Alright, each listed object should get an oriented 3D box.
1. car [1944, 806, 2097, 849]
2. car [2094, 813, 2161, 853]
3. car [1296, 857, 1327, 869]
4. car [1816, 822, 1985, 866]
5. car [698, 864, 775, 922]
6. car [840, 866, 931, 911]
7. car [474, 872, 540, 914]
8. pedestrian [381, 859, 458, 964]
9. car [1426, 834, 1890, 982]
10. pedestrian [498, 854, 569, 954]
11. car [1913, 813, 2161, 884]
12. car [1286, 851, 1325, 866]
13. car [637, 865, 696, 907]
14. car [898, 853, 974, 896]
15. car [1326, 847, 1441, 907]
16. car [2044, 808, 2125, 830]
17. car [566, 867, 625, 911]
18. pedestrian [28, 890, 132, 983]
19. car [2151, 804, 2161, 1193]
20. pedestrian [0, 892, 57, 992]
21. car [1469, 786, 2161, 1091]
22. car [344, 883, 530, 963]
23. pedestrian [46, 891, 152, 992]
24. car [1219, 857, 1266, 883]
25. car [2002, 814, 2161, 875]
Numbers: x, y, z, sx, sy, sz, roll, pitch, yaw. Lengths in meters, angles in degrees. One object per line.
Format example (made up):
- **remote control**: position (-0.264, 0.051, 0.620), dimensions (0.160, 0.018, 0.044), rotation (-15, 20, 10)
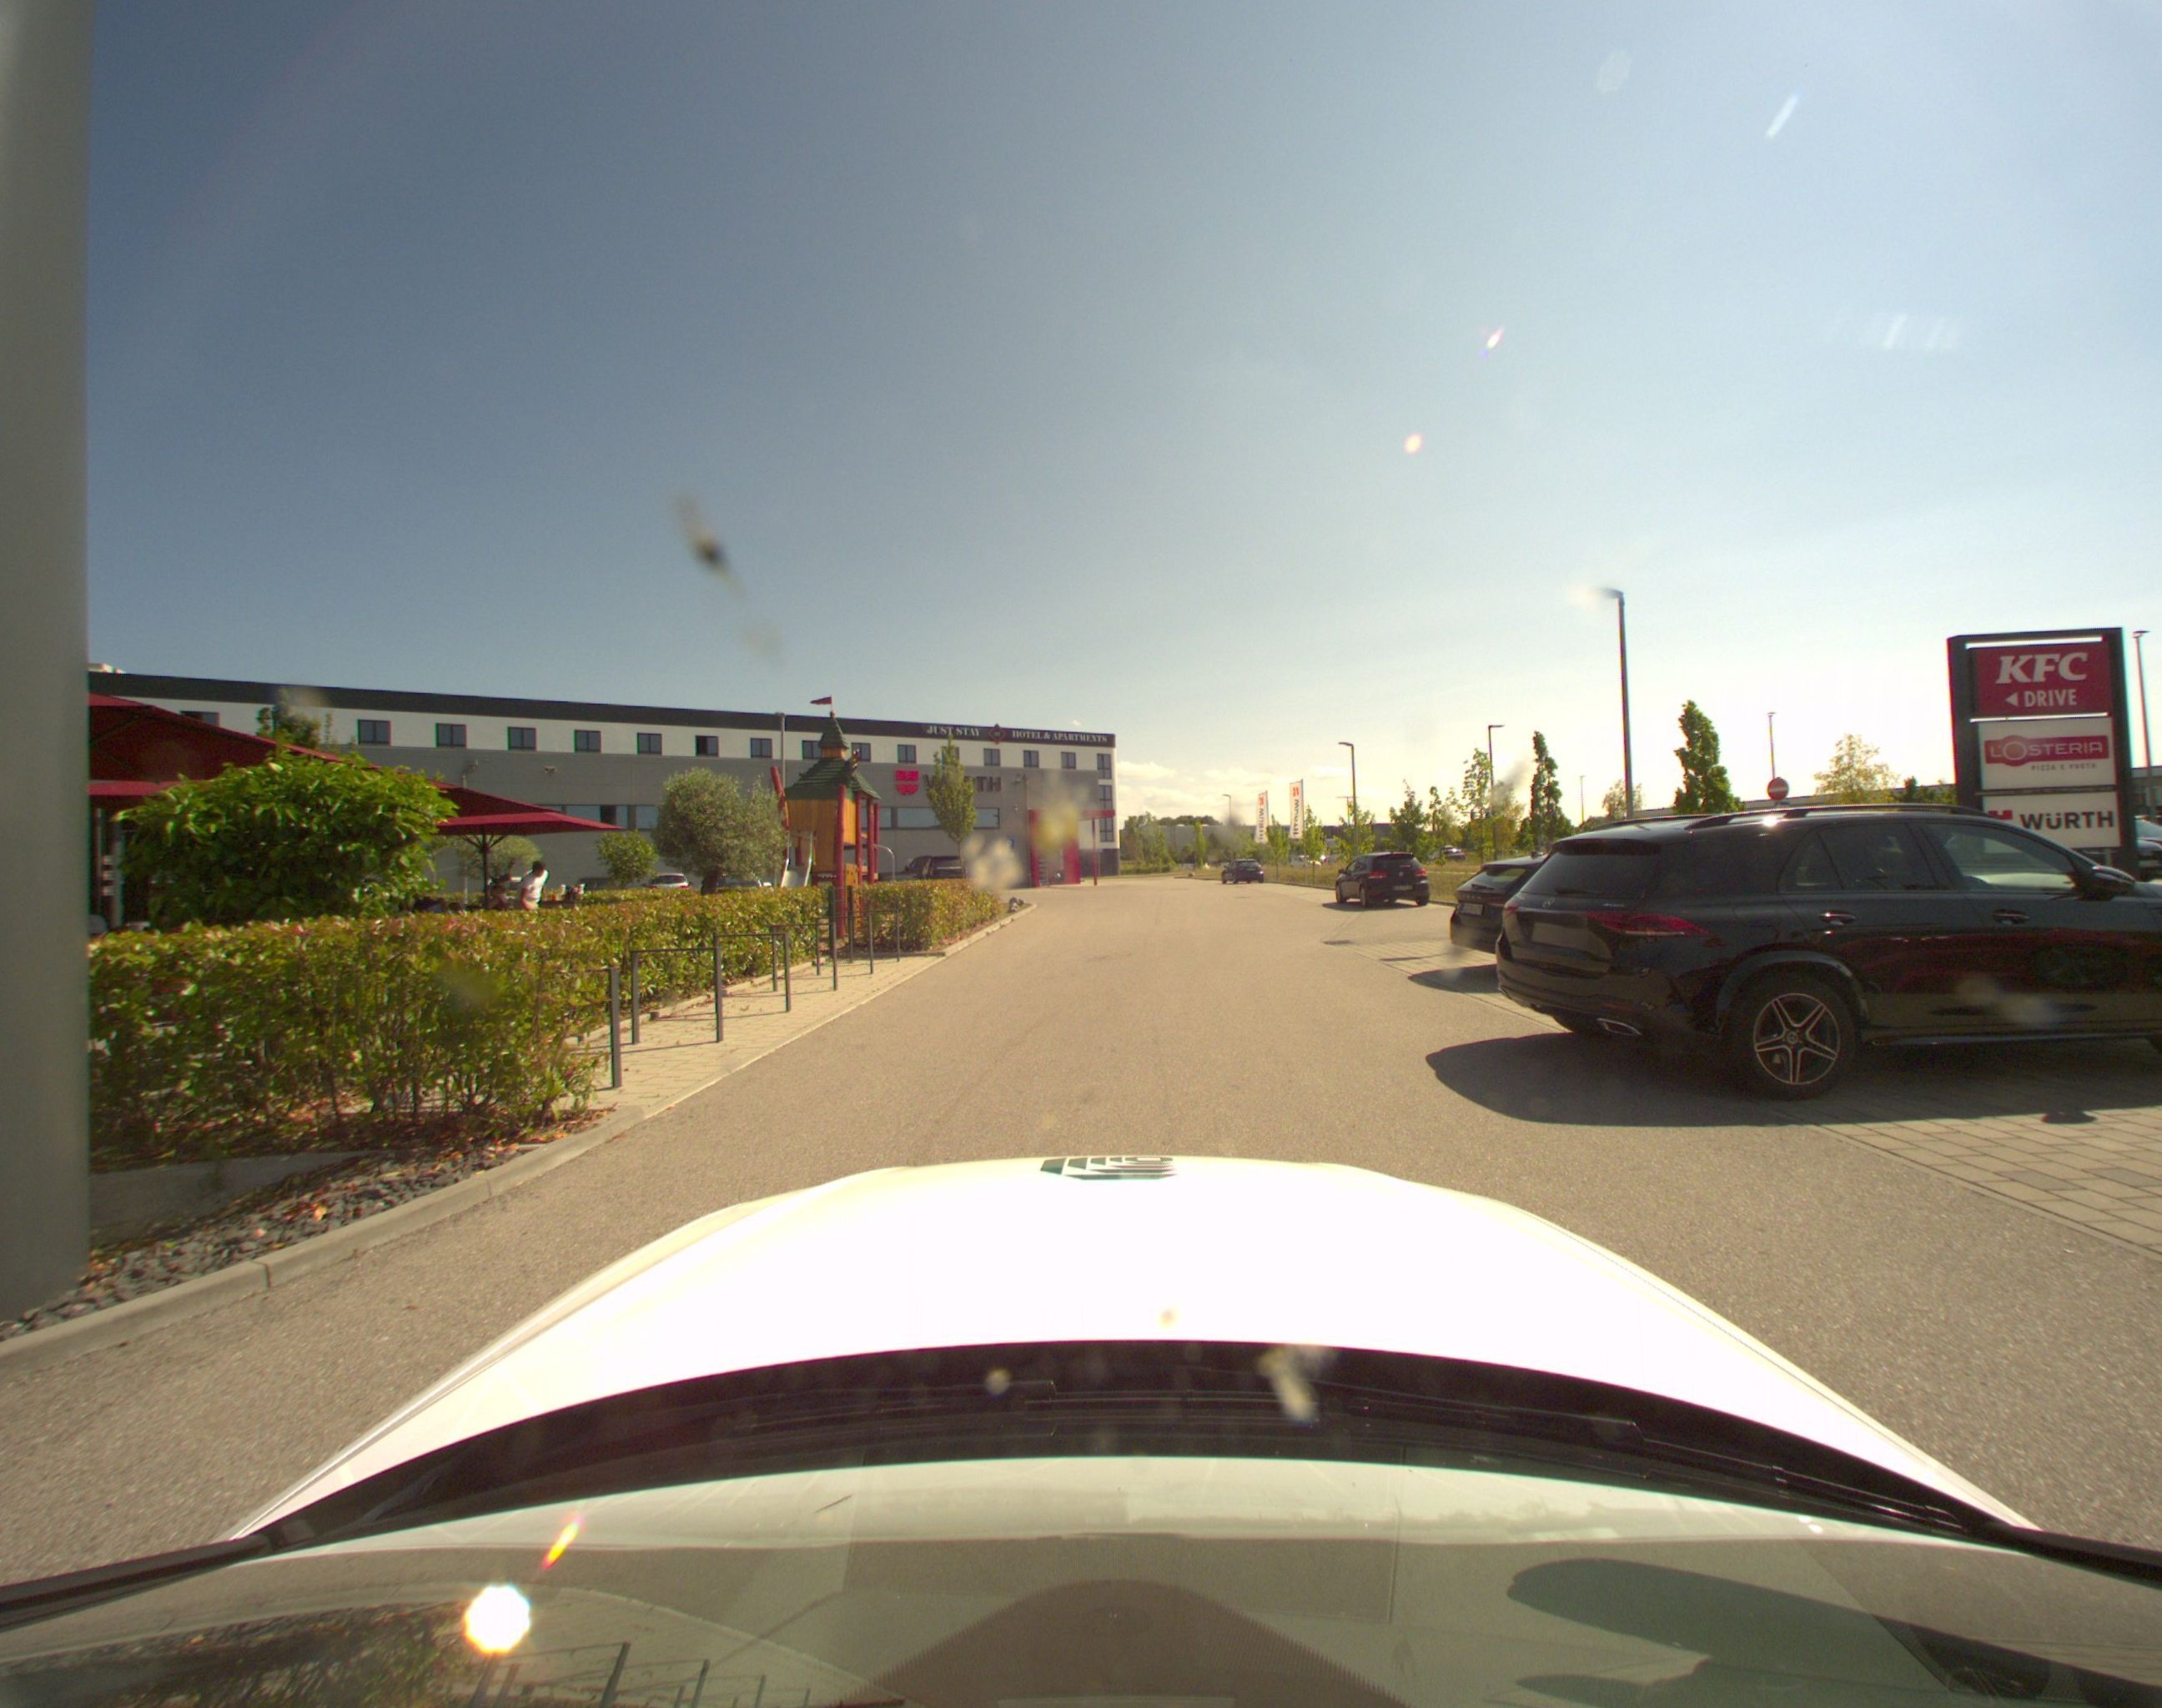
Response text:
- **car**: position (54.975, -1.529, 47.733), dimensions (6.283, 2.237, 2.811), rotation (-2, 0, -6)
- **car**: position (56.300, -1.122, 42.514), dimensions (5.162, 2.013, 1.993), rotation (-2, 0, -10)
- **car**: position (26.199, 1.018, 92.586), dimensions (1.652, 1.386, 3.488), rotation (-2, 0, -20)
- **car**: position (30.948, -0.351, 31.006), dimensions (1.865, 1.483, 4.605), rotation (-2, 0, 2)
- **car**: position (-10.634, 1.115, 24.987), dimensions (1.957, 1.530, 4.339), rotation (-2, 0, -25)
- **car**: position (-6.828, 1.142, 28.098), dimensions (1.874, 1.362, 4.334), rotation (-2, 0, -30)
- **car**: position (-22.270, 1.467, 31.740), dimensions (1.742, 1.487, 3.913), rotation (-2, 0, -30)
- **pedestrian**: position (-10.755, 0.909, 13.265), dimensions (0.787, 1.614, 0.756), rotation (-2, 0, -26)
- **car**: position (6.889, 0.600, 10.067), dimensions (4.429, 1.487, 1.876), rotation (-2, 0, -2)
- **pedestrian**: position (-9.662, 0.865, 14.385), dimensions (0.753, 1.687, 0.791), rotation (-2, -1, 36)
- **car**: position (26.364, -0.140, 22.419), dimensions (1.988, 1.733, 4.757), rotation (-2, 0, -1)
- **car**: position (22.824, 0.454, 82.928), dimensions (1.877, 1.483, 3.977), rotation (-2, 0, -17)
- **car**: position (-17.590, 1.307, 34.487), dimensions (1.960, 1.586, 4.334), rotation (-2, 0, -30)
- **car**: position (-6.981, 0.959, 38.830), dimensions (2.083, 1.880, 4.833), rotation (-2, 0, -29)
- **car**: position (8.570, 0.619, 23.457), dimensions (1.829, 1.477, 4.122), rotation (-3, -1, 2)
- **car**: position (71.400, -2.468, 57.976), dimensions (1.436, 1.400, 3.451), rotation (-2, 0, -30)
- **car**: position (-19.610, 1.370, 32.977), dimensions (1.891, 1.586, 4.069), rotation (-2, 0, -30)
- **pedestrian**: position (-13.631, 1.111, 11.101), dimensions (0.703, 1.198, 0.618), rotation (-2, 0, 11)
- **car**: position (6.599, 0.563, 2.754), dimensions (4.066, 1.609, 1.890), rotation (-1, 0, -9)
- **pedestrian**: position (-13.487, 1.092, 10.122), dimensions (0.711, 1.198, 0.662), rotation (-2, 0, -27)
- **car**: position (5.531, 0.494, 5.874), dimensions (4.563, 1.760, 1.894), rotation (-1, -1, -2)
- **car**: position (-13.089, 1.327, 16.851), dimensions (1.646, 1.308, 3.820), rotation (-2, -1, -16)
- **pedestrian**: position (-12.489, 1.093, 10.369), dimensions (0.702, 1.198, 0.619), rotation (-2, 0, 17)
- **car**: position (9.420, 0.922, 47.778), dimensions (1.696, 1.406, 3.889), rotation (-1, -1, -5)
- **car**: position (30.303, -0.290, 23.698), dimensions (1.865, 1.664, 4.605), rotation (-2, 0, 2)
